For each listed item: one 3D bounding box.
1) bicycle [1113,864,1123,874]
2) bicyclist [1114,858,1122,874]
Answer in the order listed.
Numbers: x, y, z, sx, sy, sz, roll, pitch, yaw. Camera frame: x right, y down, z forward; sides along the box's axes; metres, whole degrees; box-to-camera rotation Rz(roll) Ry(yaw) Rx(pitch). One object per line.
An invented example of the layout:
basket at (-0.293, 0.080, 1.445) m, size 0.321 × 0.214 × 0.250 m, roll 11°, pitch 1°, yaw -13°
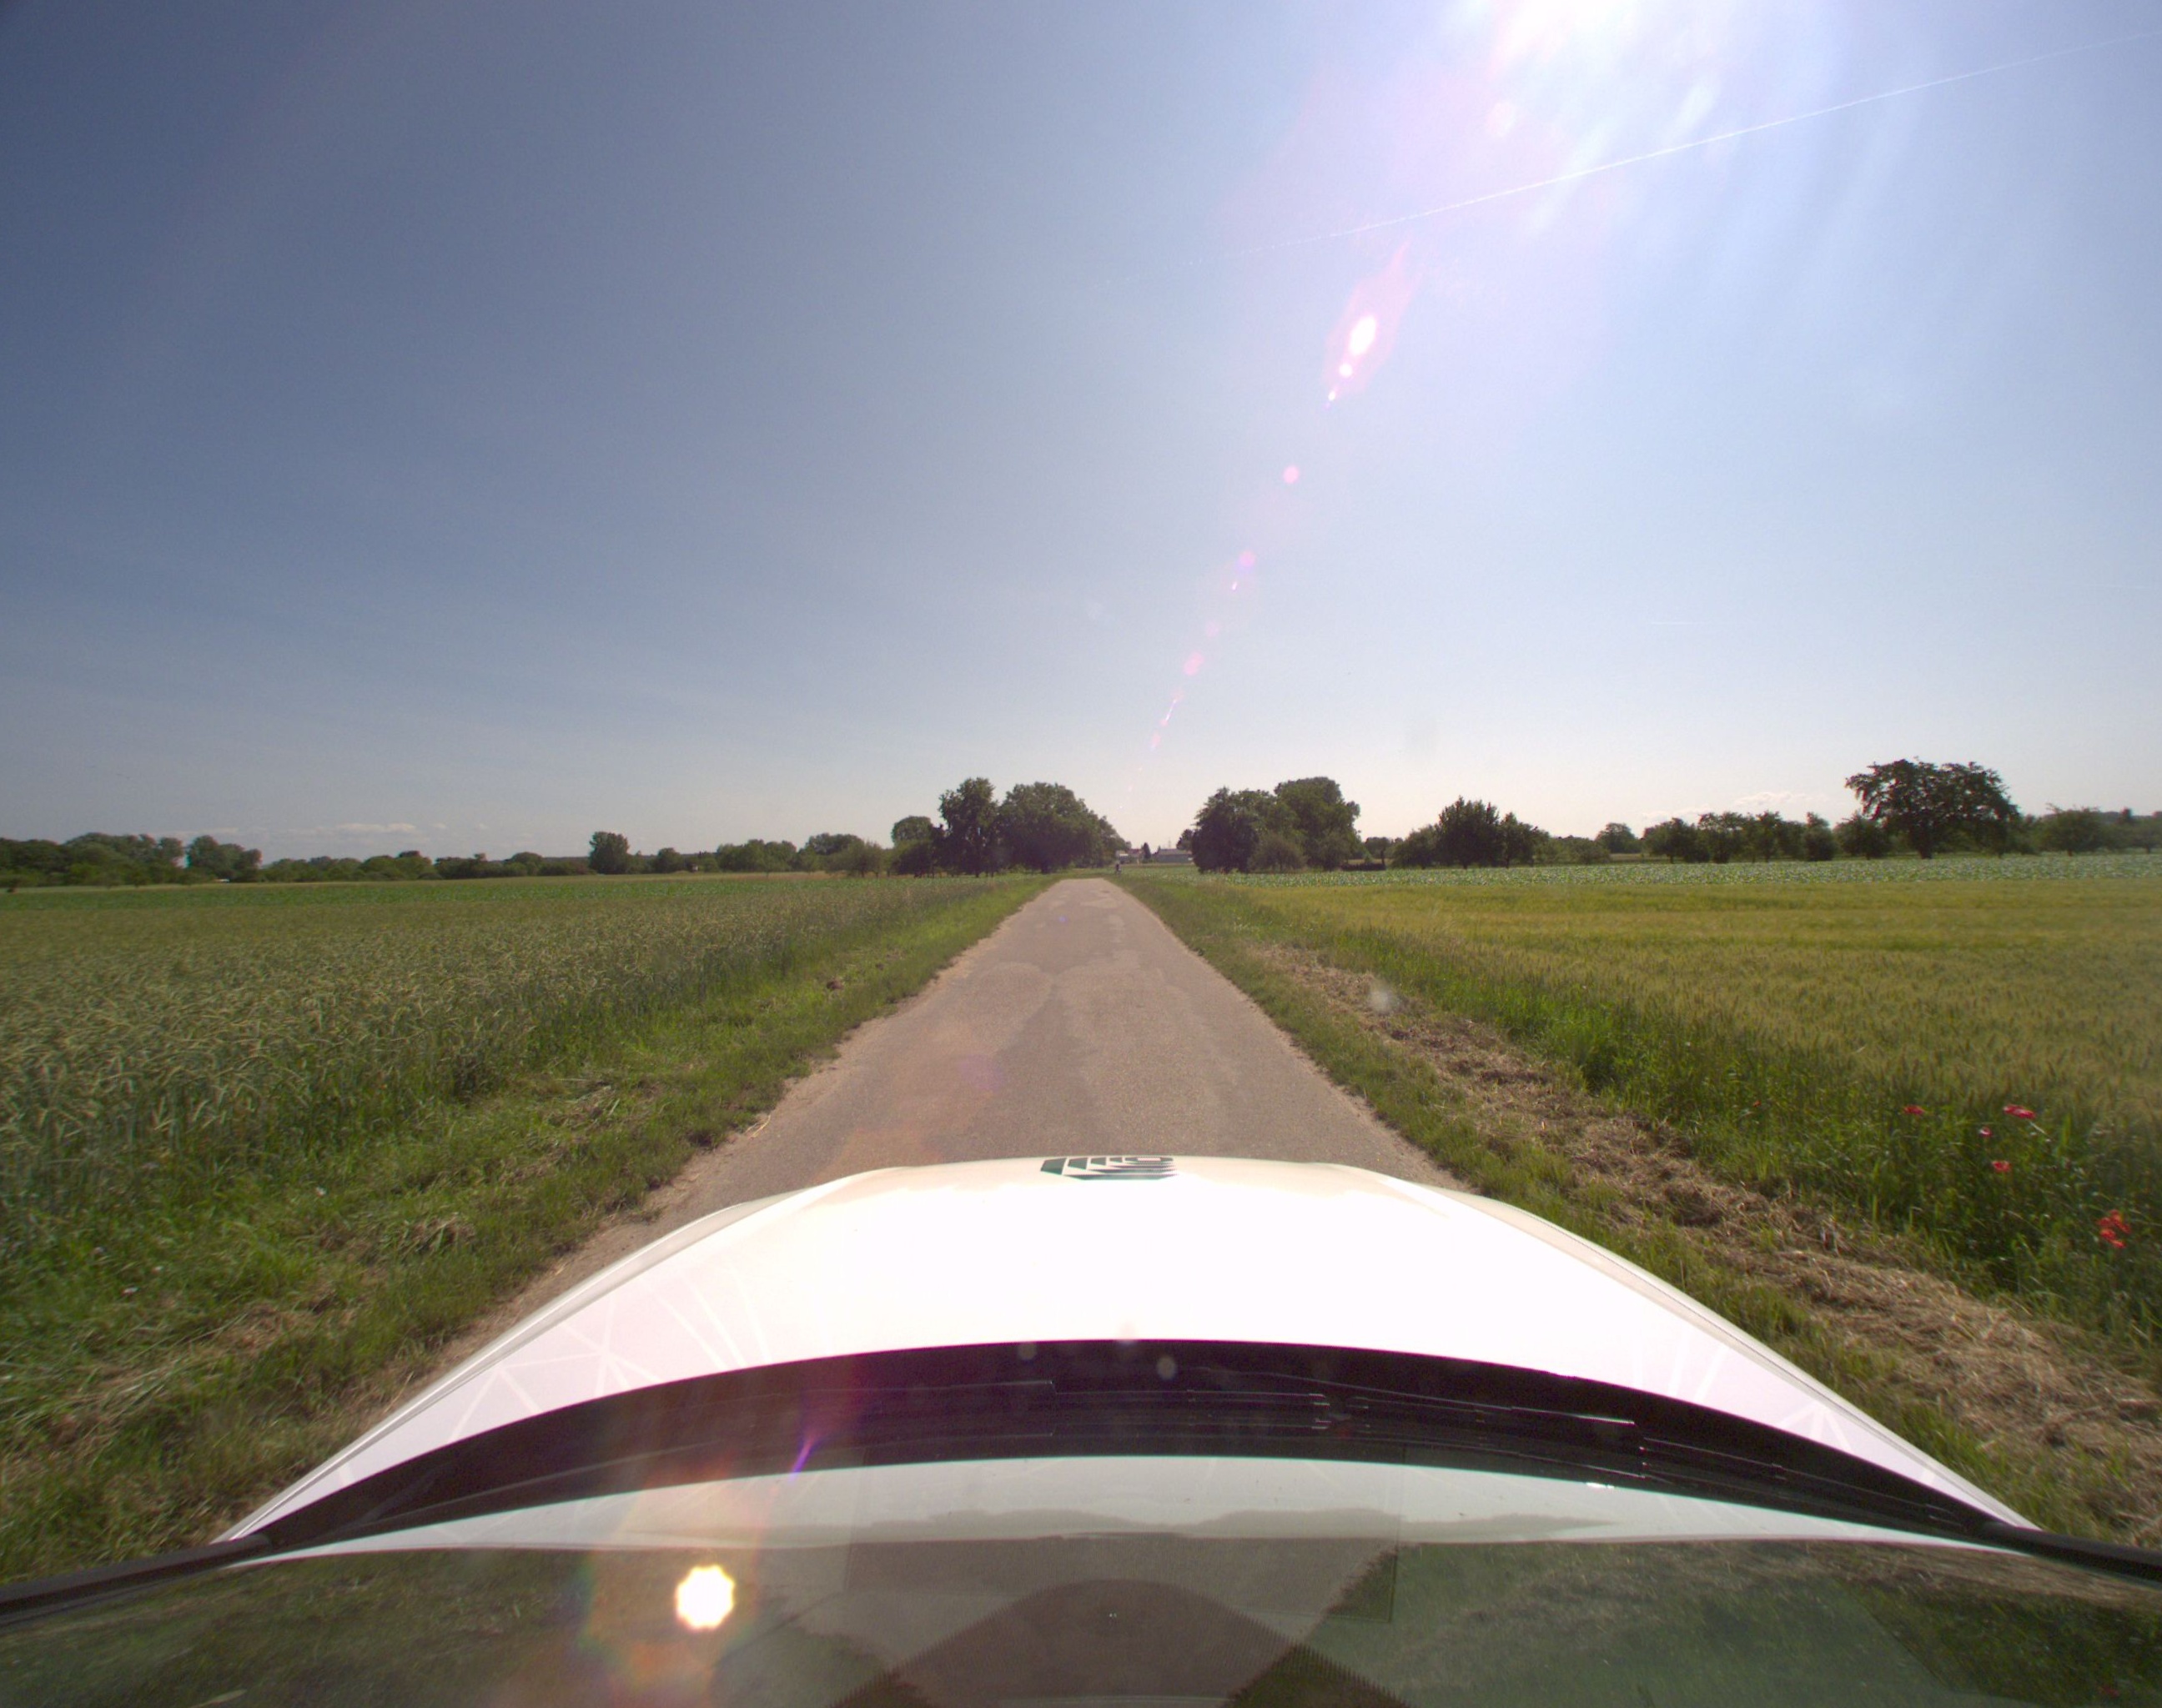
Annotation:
bicycle at (4.242, 1.715, 92.533) m, size 0.745 × 1.127 × 1.915 m, roll -3°, pitch -1°, yaw 12°
bicyclist at (4.230, 1.393, 92.544) m, size 0.745 × 1.791 × 0.719 m, roll -3°, pitch -1°, yaw 12°
